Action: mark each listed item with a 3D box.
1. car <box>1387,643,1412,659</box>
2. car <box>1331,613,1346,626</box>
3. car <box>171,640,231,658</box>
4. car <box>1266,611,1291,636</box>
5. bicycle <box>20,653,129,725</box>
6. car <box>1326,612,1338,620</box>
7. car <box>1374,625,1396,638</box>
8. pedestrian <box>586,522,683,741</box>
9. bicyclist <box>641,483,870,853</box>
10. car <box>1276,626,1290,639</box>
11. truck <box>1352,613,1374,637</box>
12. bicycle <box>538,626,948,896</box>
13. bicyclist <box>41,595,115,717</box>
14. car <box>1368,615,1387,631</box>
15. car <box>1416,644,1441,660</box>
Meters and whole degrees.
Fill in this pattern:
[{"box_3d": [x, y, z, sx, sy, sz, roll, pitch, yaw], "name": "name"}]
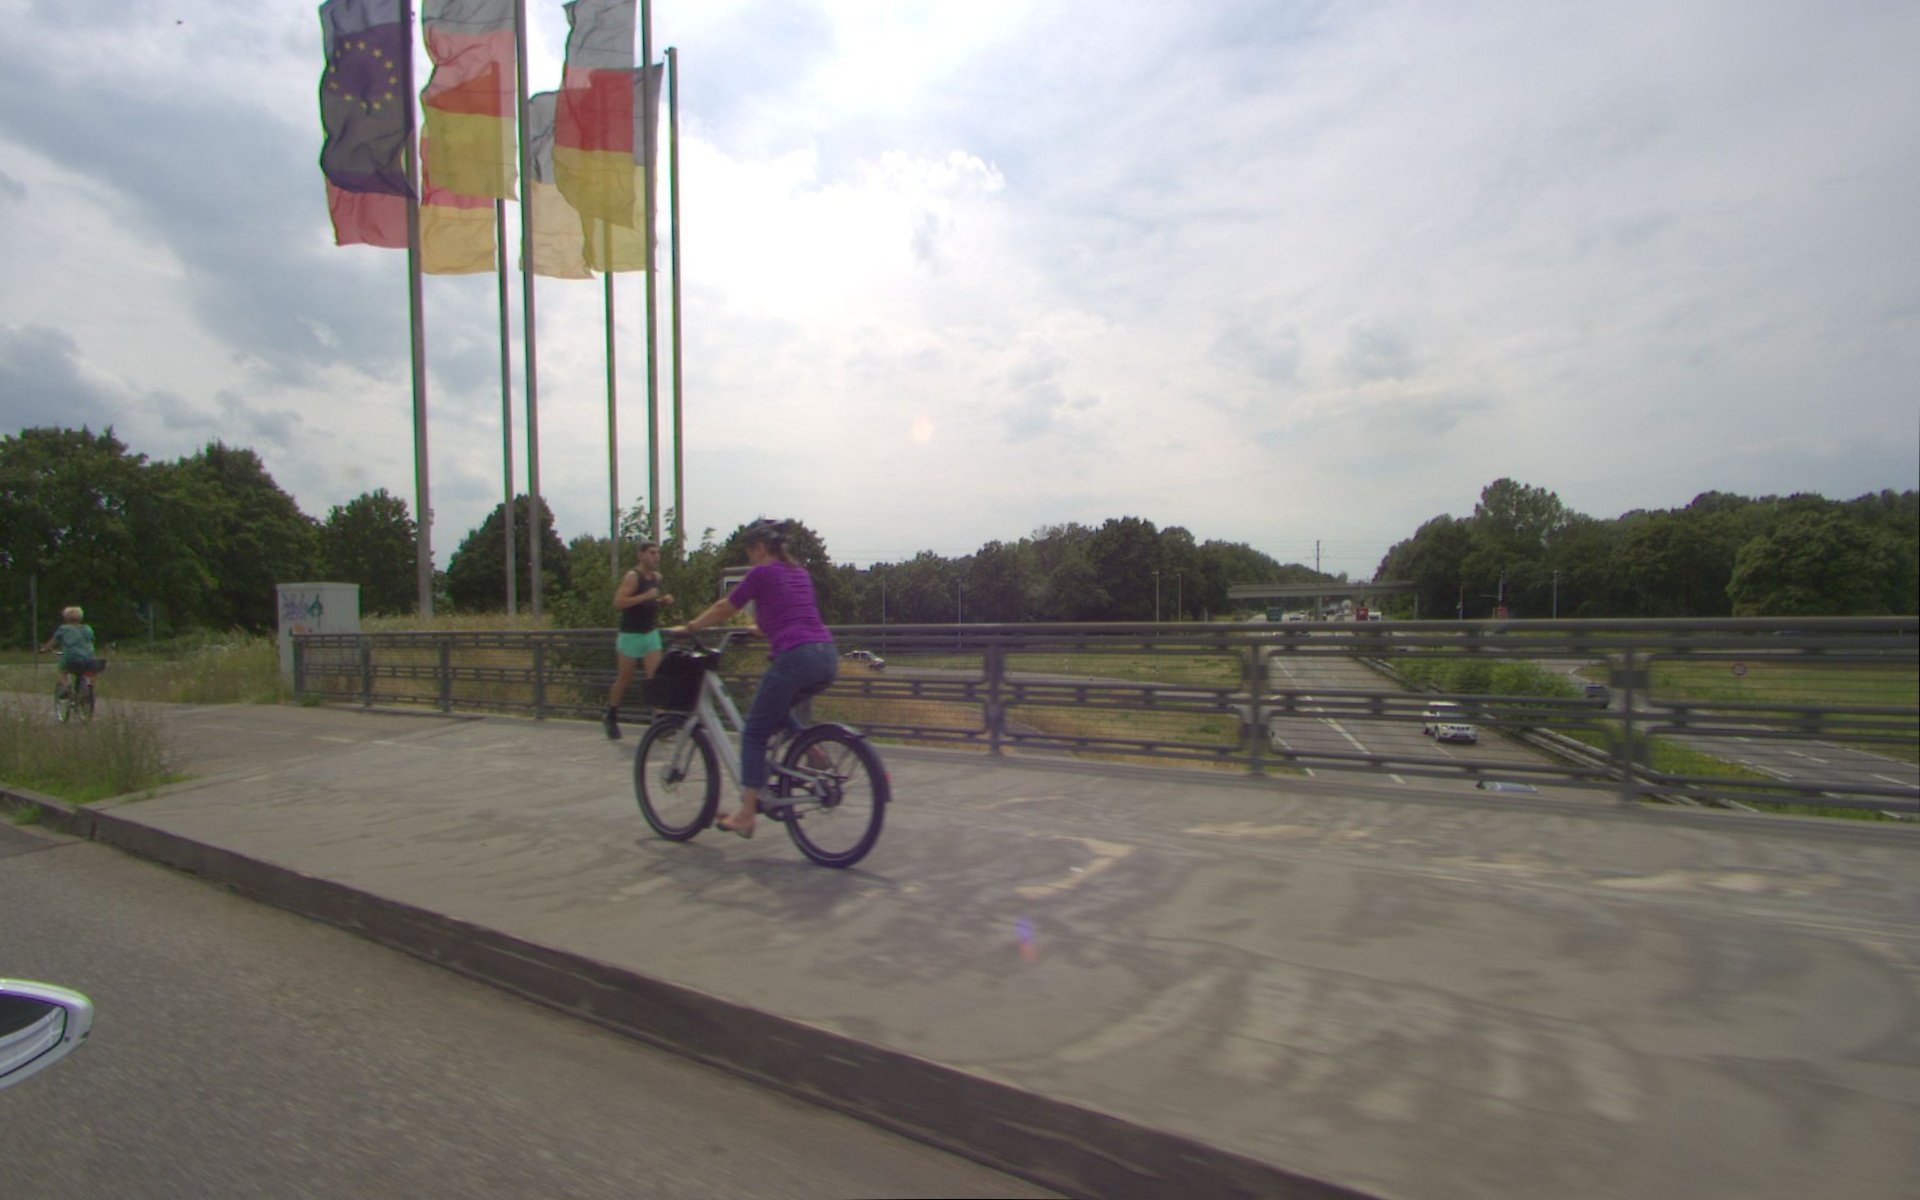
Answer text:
[{"box_3d": [48.470, 5.624, 110.458, 1.964, 1.606, 3.994, -1, 0, 16], "name": "car"}, {"box_3d": [73.119, 3.718, 193.493, 2.043, 2.524, 4.358, 0, 0, 13], "name": "car"}, {"box_3d": [-68.951, 4.430, 90.994, 3.928, 1.483, 1.769, 0, 0, -16], "name": "car"}, {"box_3d": [52.993, 3.890, 166.659, 3.282, 3.948, 7.504, 0, 0, 13], "name": "car"}, {"box_3d": [-12.812, 1.251, 14.470, 2.123, 0.900, 0.622, 0, 0, 33], "name": "bicycle"}, {"box_3d": [88.267, 3.785, 237.377, 2.043, 1.907, 4.358, 0, 0, 13], "name": "car"}, {"box_3d": [60.146, 4.422, 141.751, 1.962, 1.606, 3.997, -1, 0, 11], "name": "car"}, {"box_3d": [-3.165, 0.292, 9.761, 0.659, 2.040, 0.625, 0, 1, 34], "name": "pedestrian"}, {"box_3d": [-1.093, 0.333, 5.370, 0.977, 1.779, 0.701, 0, 1, 33], "name": "bicyclist"}, {"box_3d": [43.615, 4.405, 135.346, 1.664, 1.566, 3.994, 0, 0, 17], "name": "car"}, {"box_3d": [56.665, 3.531, 140.886, 1.962, 3.191, 4.378, -1, 1, 10], "name": "truck"}, {"box_3d": [-1.273, 0.765, 5.538, 2.426, 1.208, 0.692, -1, 1, 33], "name": "bicycle"}, {"box_3d": [-12.602, 0.779, 14.311, 0.659, 1.688, 0.620, 0, 1, 32], "name": "bicyclist"}, {"box_3d": [67.650, 3.662, 162.350, 2.043, 2.524, 4.358, 0, 0, 13], "name": "car"}, {"box_3d": [53.024, 5.855, 113.397, 1.964, 1.606, 3.992, -1, 0, 18], "name": "car"}]
